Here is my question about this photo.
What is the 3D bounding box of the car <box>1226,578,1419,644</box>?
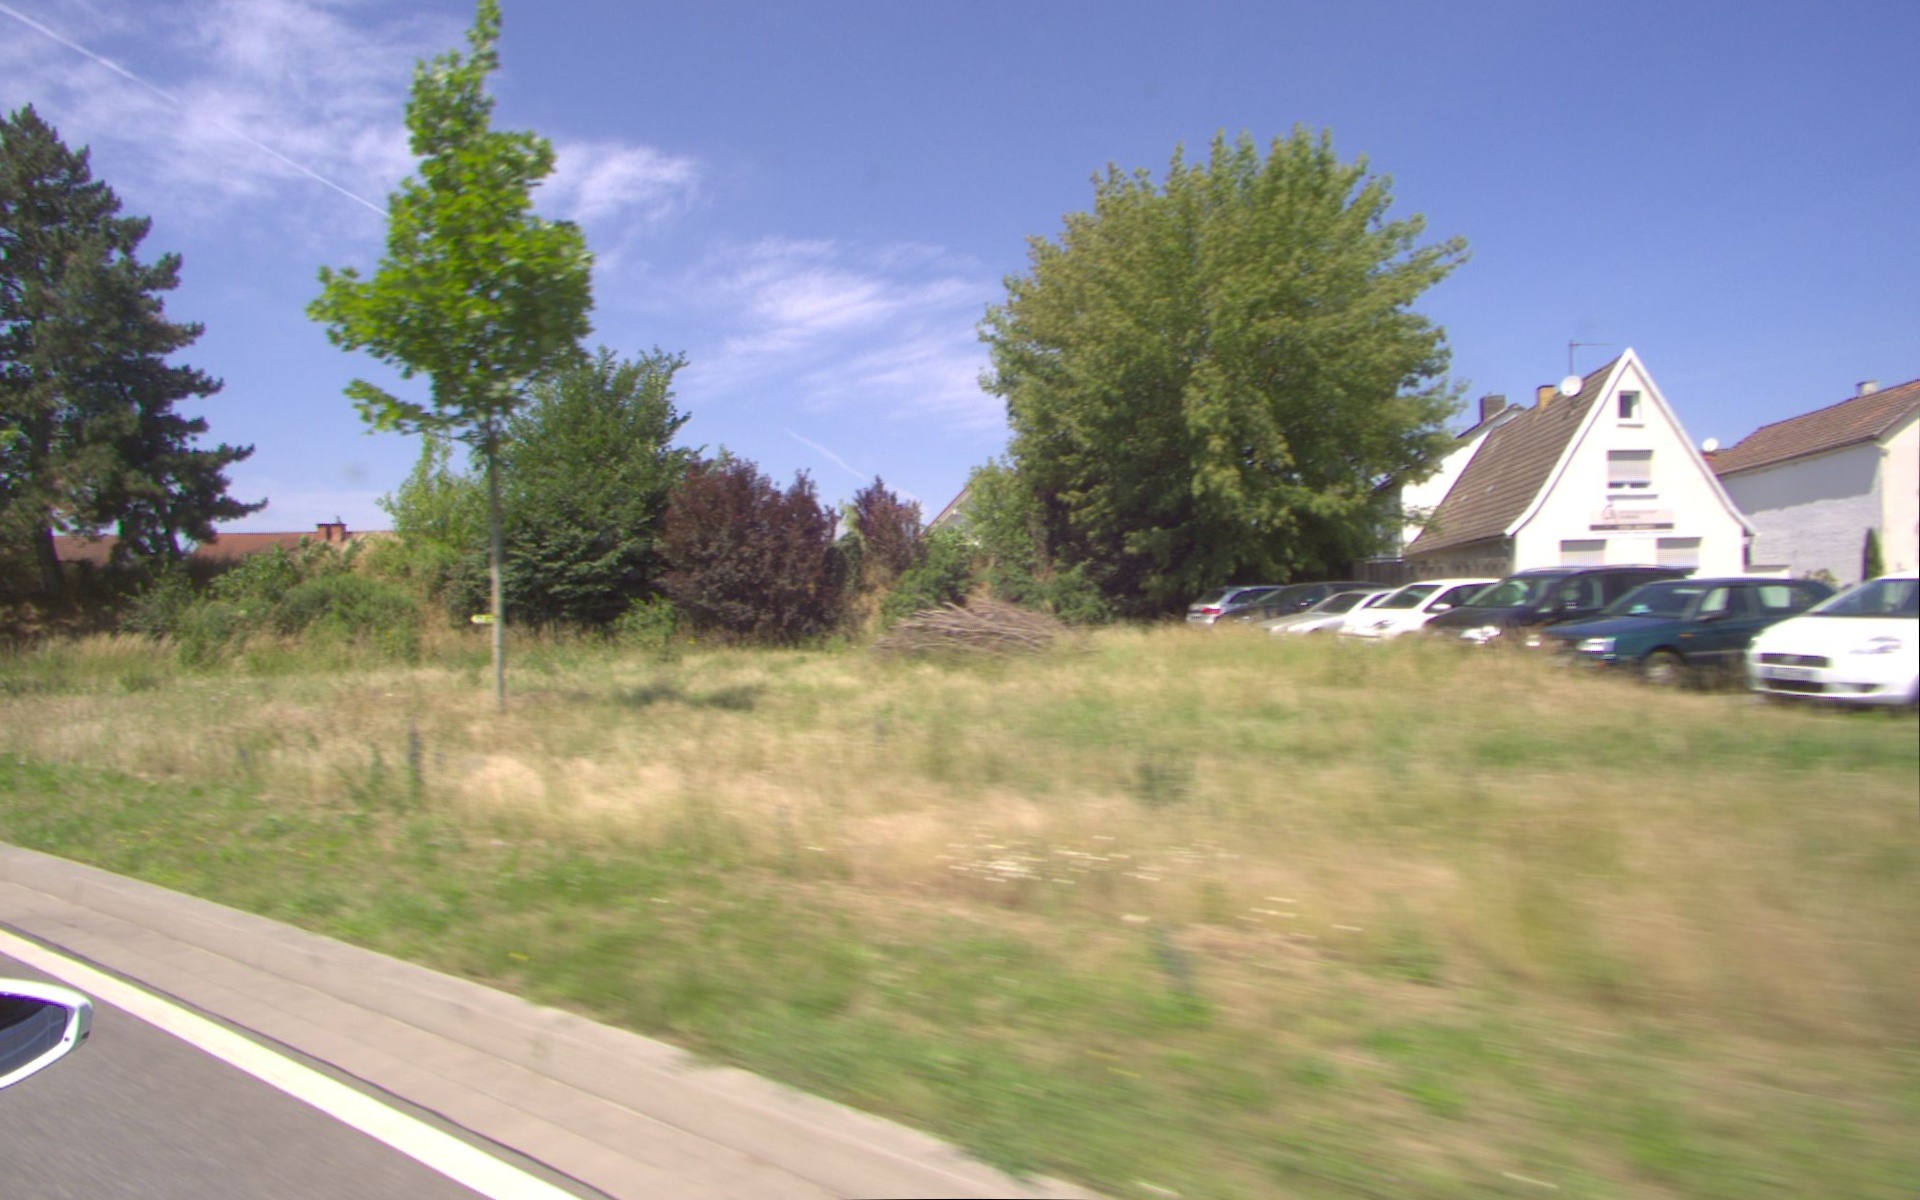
[{"bbox_3d":[8.414,0.266,23.406,3.892,1.461,1.773,0,0,-10],"label":"car"}]

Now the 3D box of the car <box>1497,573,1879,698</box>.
[{"bbox_3d":[9.270,0.434,12.896,3.892,1.461,1.773,0,0,-10],"label":"car"}]

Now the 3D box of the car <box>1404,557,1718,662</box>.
[{"bbox_3d":[9.052,0.152,15.224,3.892,1.461,1.773,0,0,-10],"label":"car"}]

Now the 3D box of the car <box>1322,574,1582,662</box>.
[{"bbox_3d":[8.756,0.323,17.952,3.892,1.461,1.773,0,0,-10],"label":"car"}]

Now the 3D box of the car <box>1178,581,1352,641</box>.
[{"bbox_3d":[7.757,0.291,25.594,3.892,1.461,1.773,0,0,-10],"label":"car"}]

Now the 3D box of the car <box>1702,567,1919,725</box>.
[{"bbox_3d":[10.200,0.387,10.471,3.925,1.446,1.746,-1,0,-12],"label":"car"}]

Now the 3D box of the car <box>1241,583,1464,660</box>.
[{"bbox_3d":[7.943,0.430,20.400,3.892,1.461,1.772,0,0,-11],"label":"car"}]
